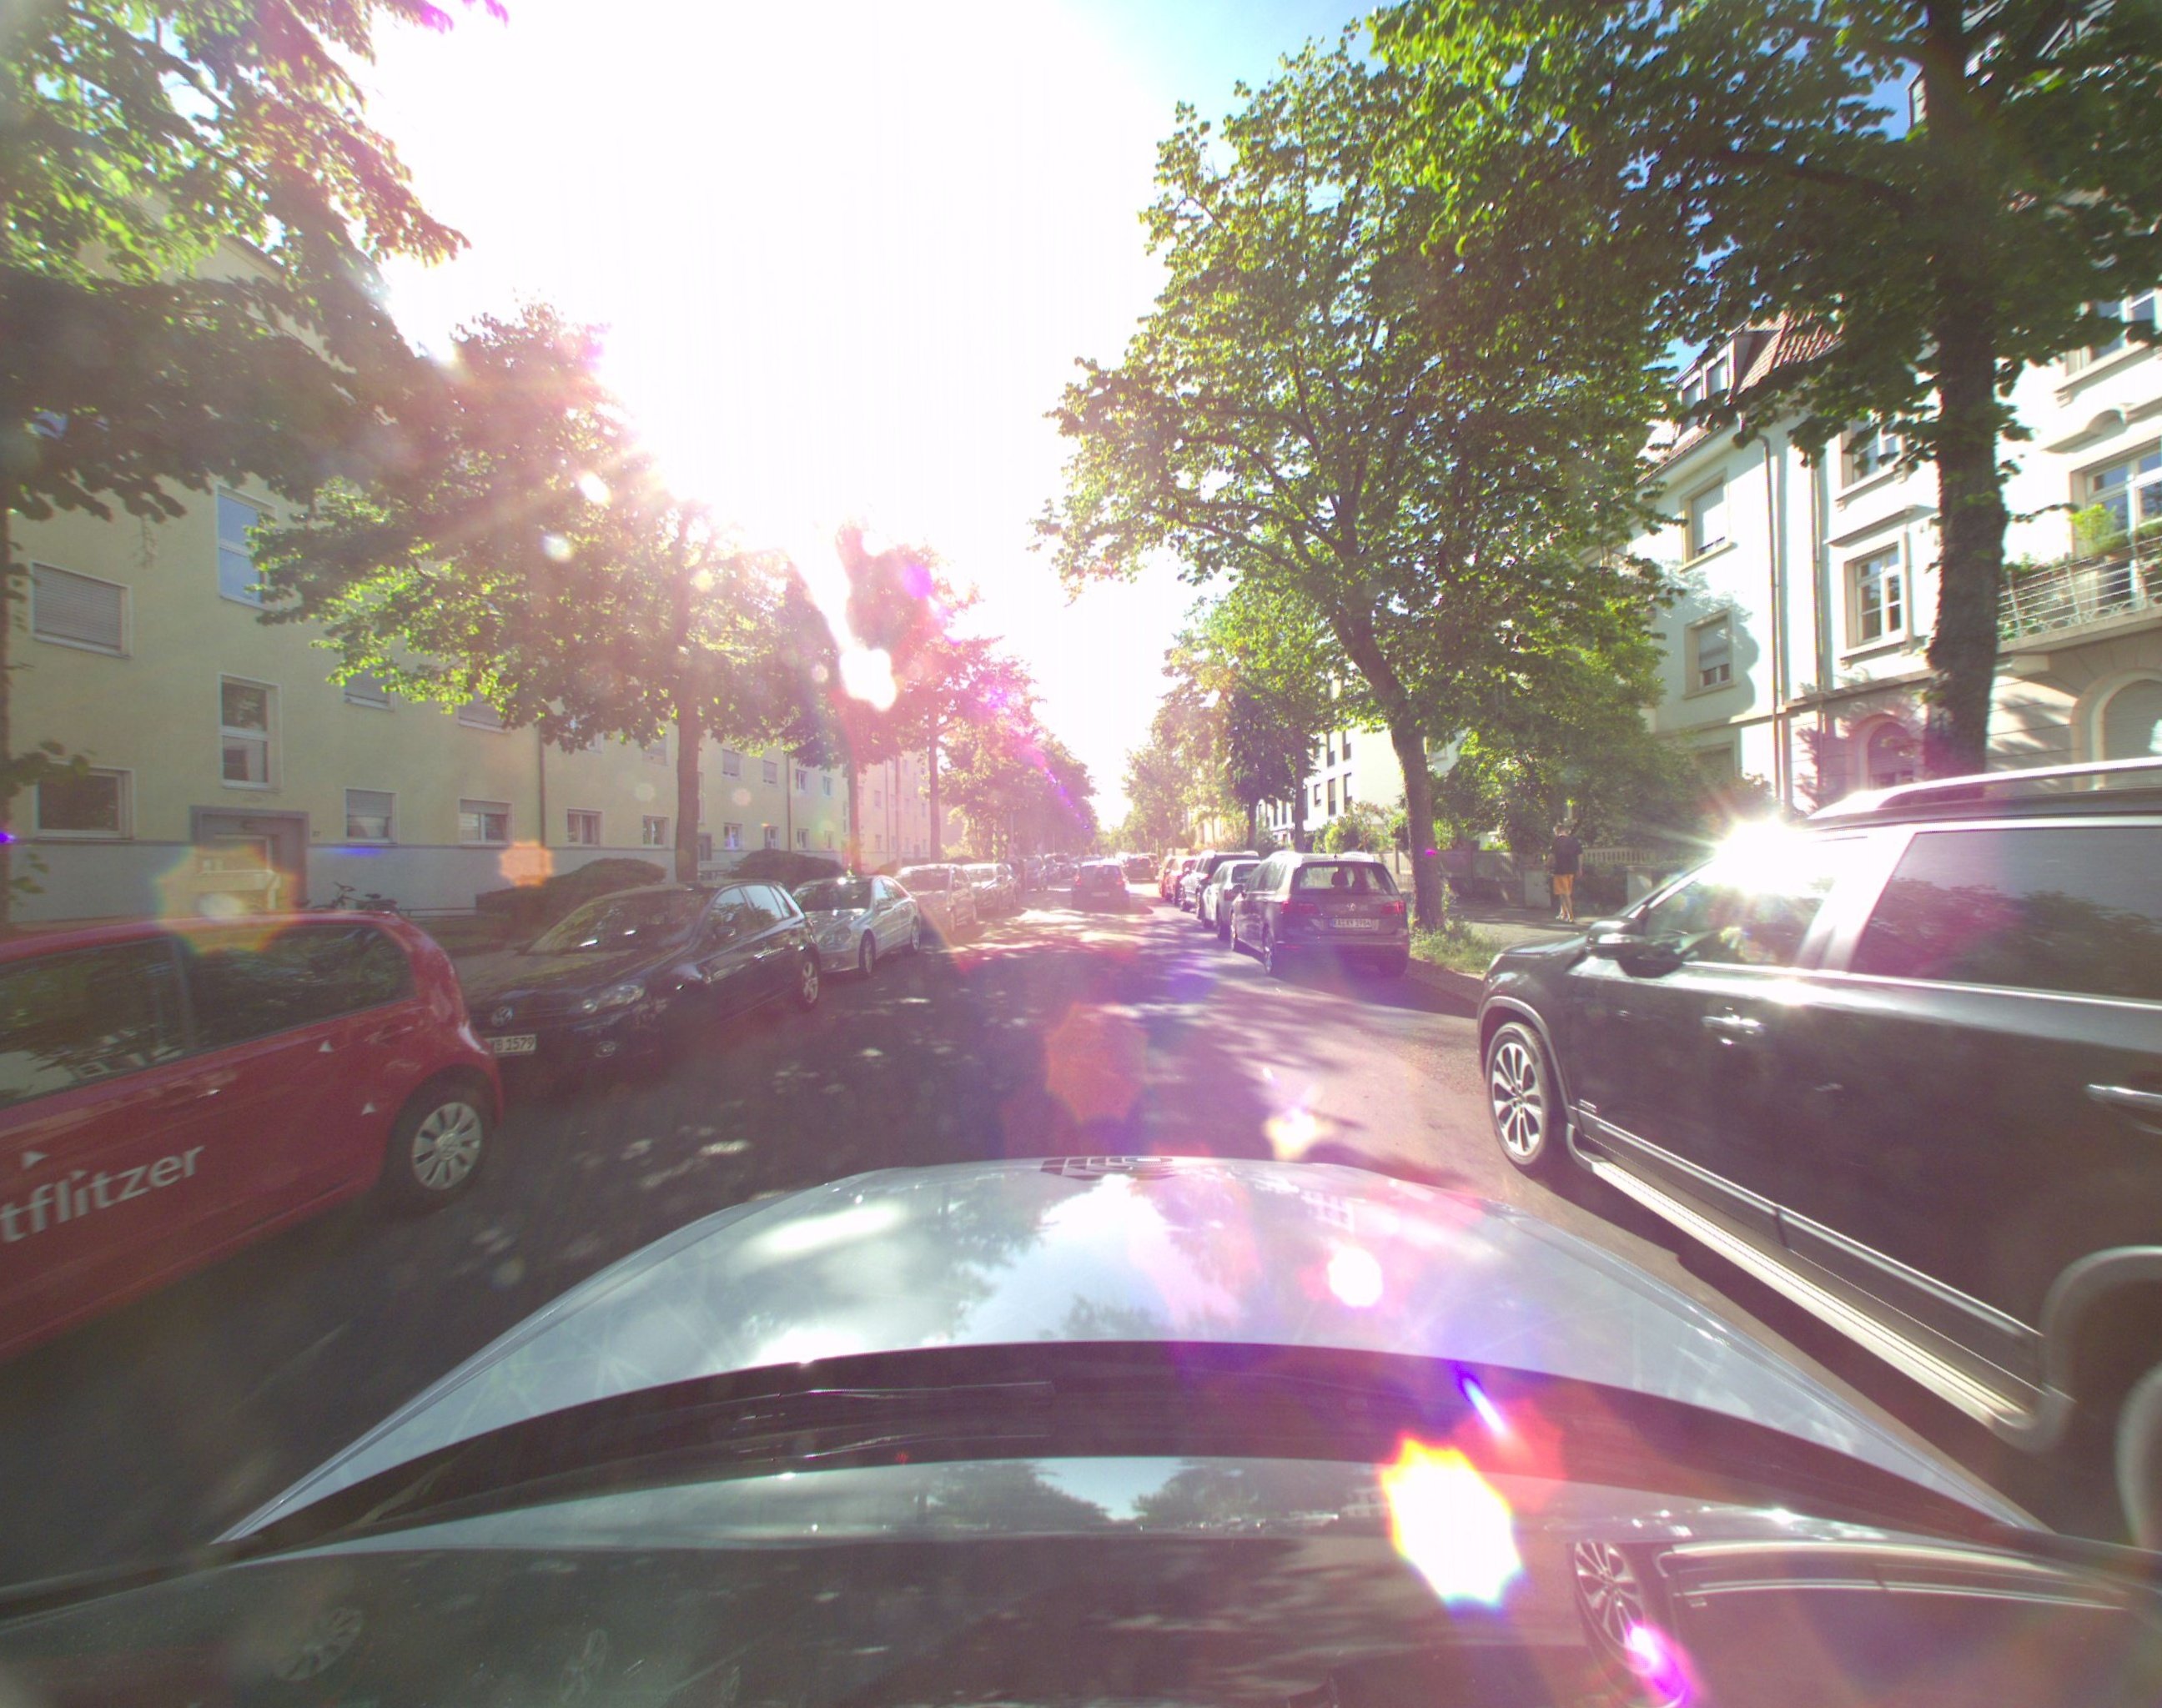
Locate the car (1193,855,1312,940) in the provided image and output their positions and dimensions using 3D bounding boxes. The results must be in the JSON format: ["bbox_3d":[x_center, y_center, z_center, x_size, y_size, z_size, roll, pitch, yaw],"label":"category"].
[{"bbox_3d":[3.332,0.768,16.556,1.623,1.425,4.371,-2,0,2],"label":"car"}]

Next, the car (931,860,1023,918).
[{"bbox_3d":[-2.997,0.974,24.464,1.784,1.444,4.693,-3,0,4],"label":"car"}]

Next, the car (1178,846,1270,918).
[{"bbox_3d":[3.615,0.668,21.197,1.644,1.655,3.845,-1,0,-1],"label":"car"}]

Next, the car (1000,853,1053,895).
[{"bbox_3d":[-2.461,0.860,37.963,1.842,1.680,4.979,-4,0,2],"label":"car"}]

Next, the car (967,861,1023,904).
[{"bbox_3d":[-3.039,0.976,29.314,1.515,1.395,3.727,-2,0,1],"label":"car"}]

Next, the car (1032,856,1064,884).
[{"bbox_3d":[-1.982,0.930,49.916,1.502,1.548,4.780,-4,0,2],"label":"car"}]

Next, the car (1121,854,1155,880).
[{"bbox_3d":[3.362,0.755,48.900,1.644,1.425,3.999,-2,0,-1],"label":"car"}]

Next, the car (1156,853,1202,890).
[{"bbox_3d":[4.266,0.733,35.939,1.693,1.449,4.085,-2,0,3],"label":"car"}]

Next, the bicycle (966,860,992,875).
[{"bbox_3d":[-8.659,1.150,69.204,2.144,1.208,0.688,-2,0,-9],"label":"bicycle"}]

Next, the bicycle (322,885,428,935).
[{"bbox_3d":[-14.483,1.144,16.734,1.630,0.930,0.480,-2,0,-6],"label":"bicycle"}]

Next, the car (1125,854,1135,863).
[{"bbox_3d":[8.714,0.789,144.634,1.712,1.480,3.857,-2,0,5],"label":"car"}]

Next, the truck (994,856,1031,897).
[{"bbox_3d":[-2.767,0.889,33.336,1.079,1.577,2.435,-2,0,4],"label":"truck"}]

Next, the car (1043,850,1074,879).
[{"bbox_3d":[-1.627,0.750,60.347,1.819,1.904,5.146,-3,0,3],"label":"car"}]

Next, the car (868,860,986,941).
[{"bbox_3d":[-3.419,0.976,18.856,1.613,1.515,4.272,-4,0,3],"label":"car"}]

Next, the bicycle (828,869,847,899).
[{"bbox_3d":[-9.100,1.123,30.422,0.487,1.081,1.832,1,-1,-22],"label":"bicycle"}]

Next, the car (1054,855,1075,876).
[{"bbox_3d":[-1.309,0.906,66.050,1.607,1.611,4.229,-3,0,0],"label":"car"}]

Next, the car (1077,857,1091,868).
[{"bbox_3d":[0.415,1.132,108.566,1.606,1.392,3.867,-3,0,1],"label":"car"}]

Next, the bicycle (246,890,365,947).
[{"bbox_3d":[-13.950,1.158,14.669,1.627,0.930,0.481,-2,0,-1],"label":"bicycle"}]

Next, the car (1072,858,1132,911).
[{"bbox_3d":[0.661,0.868,24.713,1.643,1.397,3.413,-2,0,2],"label":"car"}]

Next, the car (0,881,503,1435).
[{"bbox_3d":[-3.865,0.910,2.540,1.658,1.486,3.258,-2,0,2],"label":"car"}]

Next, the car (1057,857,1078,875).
[{"bbox_3d":[-1.120,1.013,71.358,1.606,1.427,4.059,-3,0,1],"label":"car"}]

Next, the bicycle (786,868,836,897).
[{"bbox_3d":[-10.973,1.157,33.154,1.834,1.081,0.486,-2,0,-1],"label":"bicycle"}]

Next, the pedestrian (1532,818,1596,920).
[{"bbox_3d":[8.711,0.259,14.727,0.620,1.775,0.800,-3,0,2],"label":"pedestrian"}]

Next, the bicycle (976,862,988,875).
[{"bbox_3d":[-8.046,1.203,66.312,0.592,0.991,1.929,-2,0,2],"label":"bicycle"}]

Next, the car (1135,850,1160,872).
[{"bbox_3d":[5.154,0.576,63.324,1.840,1.631,4.415,-1,-1,4],"label":"car"}]

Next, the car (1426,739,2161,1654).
[{"bbox_3d":[2.907,0.606,2.700,1.774,1.698,4.299,-2,0,2],"label":"car"}]

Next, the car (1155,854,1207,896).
[{"bbox_3d":[3.782,0.744,31.383,1.630,1.454,4.102,-2,0,2],"label":"car"}]

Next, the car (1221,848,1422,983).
[{"bbox_3d":[3.255,0.731,11.959,1.678,1.588,4.536,1,0,1],"label":"car"}]

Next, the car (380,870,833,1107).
[{"bbox_3d":[-3.793,0.944,7.441,1.658,1.458,3.935,-2,0,2],"label":"car"}]

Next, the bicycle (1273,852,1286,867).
[{"bbox_3d":[15.011,0.418,61.671,0.544,1.055,1.779,-3,0,0],"label":"bicycle"}]

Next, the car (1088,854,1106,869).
[{"bbox_3d":[1.685,0.725,83.195,1.498,1.426,3.183,-2,0,6],"label":"car"}]

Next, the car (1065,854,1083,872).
[{"bbox_3d":[-0.674,0.902,81.890,1.606,1.679,4.235,-3,0,2],"label":"car"}]

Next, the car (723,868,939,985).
[{"bbox_3d":[-3.663,0.986,12.920,1.738,1.368,4.677,-3,0,2],"label":"car"}]

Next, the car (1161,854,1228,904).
[{"bbox_3d":[3.593,0.753,26.322,1.644,1.428,3.612,-2,0,0],"label":"car"}]
